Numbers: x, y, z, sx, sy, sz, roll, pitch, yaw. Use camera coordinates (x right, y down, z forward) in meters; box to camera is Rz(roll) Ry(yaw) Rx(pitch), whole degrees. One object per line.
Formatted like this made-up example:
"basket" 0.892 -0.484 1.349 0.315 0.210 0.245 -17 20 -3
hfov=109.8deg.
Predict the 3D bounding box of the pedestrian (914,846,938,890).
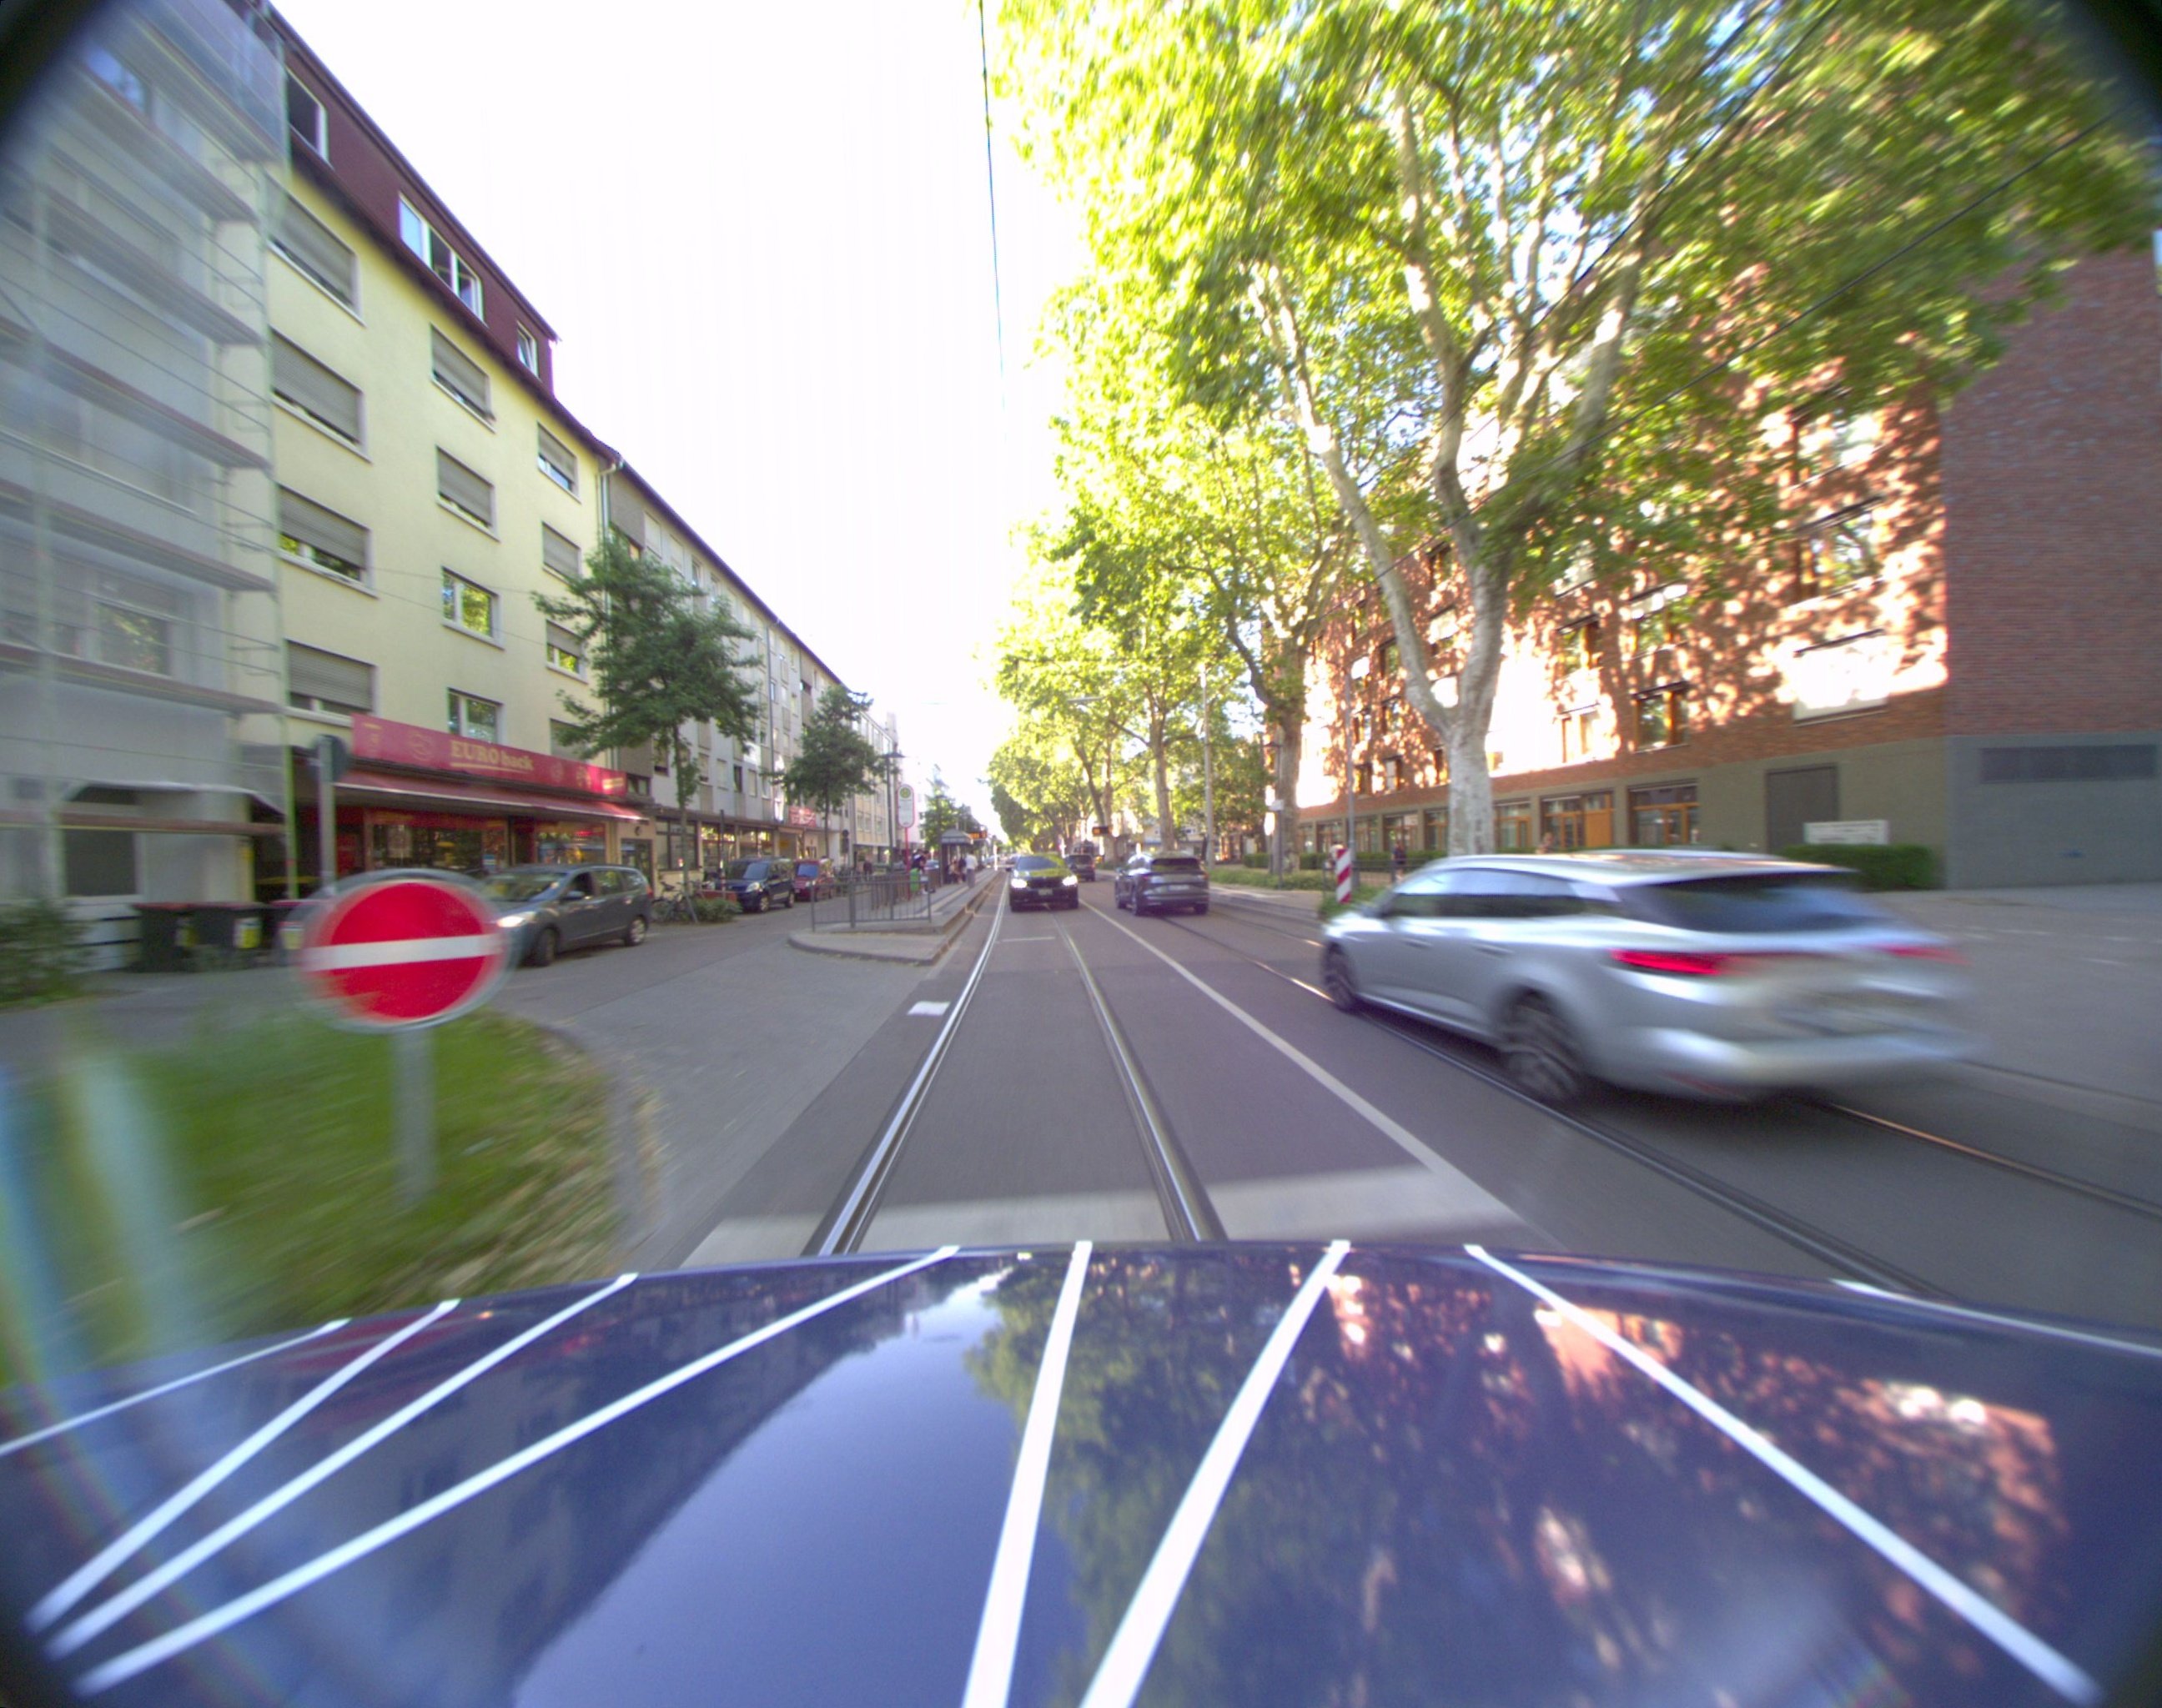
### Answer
"pedestrian" -6.224 0.566 30.457 0.847 1.691 0.692 -3 1 -11

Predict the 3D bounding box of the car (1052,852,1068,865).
"car" -3.419 0.677 122.128 2.042 1.881 5.070 -3 1 -5

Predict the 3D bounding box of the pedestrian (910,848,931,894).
"pedestrian" -6.270 0.655 29.734 0.493 1.760 0.704 -3 1 10

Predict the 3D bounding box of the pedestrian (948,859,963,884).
"pedestrian" -6.847 0.944 41.496 0.721 1.318 0.492 -3 1 -16

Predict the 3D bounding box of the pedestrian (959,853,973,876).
"pedestrian" -8.100 0.746 53.493 0.648 1.567 0.855 -2 1 13

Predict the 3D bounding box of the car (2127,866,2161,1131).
"car" 8.399 0.695 3.583 4.779 1.452 1.953 -3 1 -6

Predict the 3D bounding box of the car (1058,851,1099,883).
"car" -0.199 0.748 45.895 1.999 1.706 5.140 -3 1 -5

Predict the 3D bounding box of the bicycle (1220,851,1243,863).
"bicycle" 14.411 0.322 72.955 0.823 1.088 2.033 -3 1 -43

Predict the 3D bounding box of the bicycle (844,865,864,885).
"bicycle" -14.015 1.313 47.015 0.774 1.173 2.781 3 -2 -9

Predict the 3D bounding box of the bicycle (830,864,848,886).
"bicycle" -14.155 1.214 44.468 0.774 1.173 2.778 4 -2 -21

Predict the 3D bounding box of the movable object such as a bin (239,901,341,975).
"movable object such as a bin" -12.755 1.342 12.281 0.883 1.104 0.696 0 1 -7

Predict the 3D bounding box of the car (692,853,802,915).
"car" -11.110 0.932 25.659 1.999 1.885 4.192 2 0 -3

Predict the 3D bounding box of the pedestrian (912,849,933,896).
"pedestrian" -6.057 0.692 29.065 0.690 1.745 0.579 -3 1 -11

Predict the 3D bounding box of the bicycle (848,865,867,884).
"bicycle" -14.425 1.336 49.078 0.773 1.173 2.781 3 -2 -9

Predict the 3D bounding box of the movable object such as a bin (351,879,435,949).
"movable object such as a bin" -13.902 1.199 15.387 0.926 1.342 0.824 0 1 -7

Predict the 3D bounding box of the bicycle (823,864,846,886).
"bicycle" -14.030 1.214 43.264 0.774 1.173 2.781 3 -2 -9

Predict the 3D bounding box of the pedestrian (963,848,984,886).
"pedestrian" -4.909 0.586 34.788 0.836 1.703 0.640 -3 1 -4

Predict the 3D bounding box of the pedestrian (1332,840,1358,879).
"pedestrian" 12.191 0.252 35.109 0.766 1.734 0.971 -3 1 -5

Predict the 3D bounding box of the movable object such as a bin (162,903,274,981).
"movable object such as a bin" -13.307 1.337 11.739 0.883 1.104 0.696 0 1 -7

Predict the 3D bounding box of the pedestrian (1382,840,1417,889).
"pedestrian" 11.374 0.367 27.168 0.740 1.662 0.968 -3 1 -3

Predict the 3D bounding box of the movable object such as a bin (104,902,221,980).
"movable object such as a bin" -14.031 1.314 11.631 0.883 1.104 0.696 0 1 -7

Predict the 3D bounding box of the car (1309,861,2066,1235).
"car" 3.293 0.845 5.382 1.780 1.452 4.202 -3 1 -4

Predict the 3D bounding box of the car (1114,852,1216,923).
"car" 2.086 0.791 20.083 1.914 1.628 4.318 -1 0 -4

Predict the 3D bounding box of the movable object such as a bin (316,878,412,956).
"movable object such as a bin" -13.542 1.172 14.380 1.002 1.389 0.824 0 1 -7

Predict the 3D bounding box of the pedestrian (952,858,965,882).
"pedestrian" -6.775 0.870 42.031 0.586 1.297 0.526 -3 1 -16

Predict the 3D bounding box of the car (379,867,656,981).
"car" -9.480 1.058 13.342 1.767 1.612 4.440 0 0 -3

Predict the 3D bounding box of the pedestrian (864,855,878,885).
"pedestrian" -13.088 1.002 47.340 0.680 1.794 0.772 -3 2 -11

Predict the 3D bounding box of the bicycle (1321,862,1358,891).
"bicycle" 10.285 0.898 30.319 0.717 1.057 1.839 -3 1 -3

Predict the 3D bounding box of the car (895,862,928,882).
"car" -14.698 1.514 66.049 1.959 1.474 4.658 -3 1 -3

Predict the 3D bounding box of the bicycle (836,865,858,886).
"bicycle" -13.982 1.256 45.440 0.774 1.173 2.781 3 -2 -9

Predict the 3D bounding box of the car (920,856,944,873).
"car" -15.054 1.049 76.907 1.900 1.477 3.998 -3 1 -5

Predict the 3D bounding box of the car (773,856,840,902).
"car" -11.601 1.008 32.379 1.694 1.745 4.171 1 0 -6

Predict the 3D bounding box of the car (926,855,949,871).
"car" -15.526 0.959 82.482 1.999 1.572 3.998 -3 1 -5

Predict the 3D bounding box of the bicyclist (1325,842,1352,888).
"bicyclist" 10.266 0.427 30.355 0.702 1.777 0.838 -3 1 -3

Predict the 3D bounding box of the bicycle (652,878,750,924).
"bicycle" -10.586 1.285 21.236 2.210 1.202 1.029 0 1 -5

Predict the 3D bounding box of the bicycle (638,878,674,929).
"bicycle" -11.301 1.285 20.152 0.686 1.202 2.205 -1 1 -33

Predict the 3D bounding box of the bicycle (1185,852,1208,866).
"bicycle" 11.109 0.489 72.846 2.099 1.182 0.881 -3 1 12

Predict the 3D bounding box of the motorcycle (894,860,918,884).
"motorcycle" -11.130 1.127 48.391 1.055 1.446 2.207 -3 1 -5

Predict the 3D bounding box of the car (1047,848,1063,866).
"car" -4.559 0.539 132.243 2.430 2.833 5.070 -3 1 -5

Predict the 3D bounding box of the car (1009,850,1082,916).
"car" -1.205 0.805 23.746 1.938 1.718 5.070 -3 1 -5

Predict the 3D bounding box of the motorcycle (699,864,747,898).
"motorcycle" -14.924 1.112 31.741 0.955 1.309 2.649 3 -2 -7
